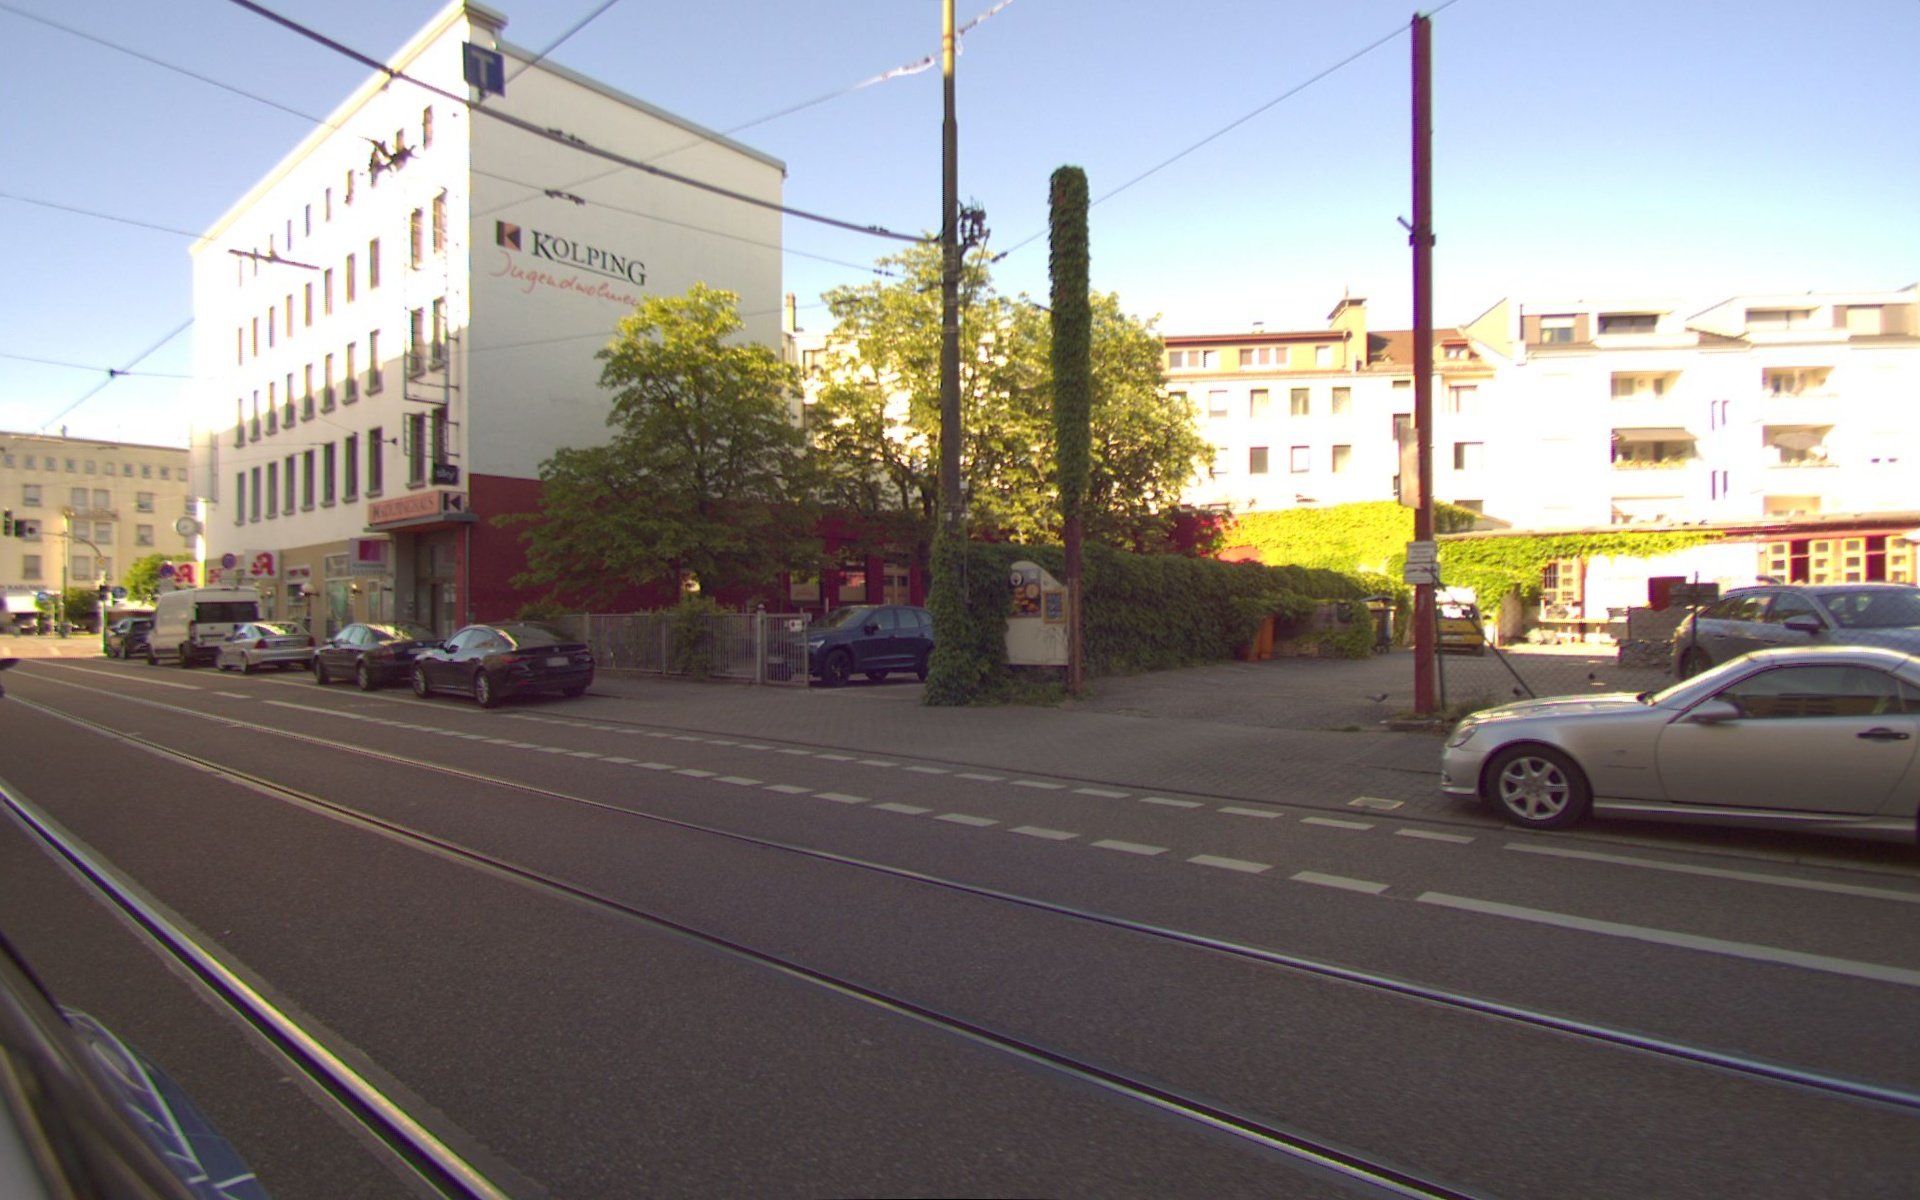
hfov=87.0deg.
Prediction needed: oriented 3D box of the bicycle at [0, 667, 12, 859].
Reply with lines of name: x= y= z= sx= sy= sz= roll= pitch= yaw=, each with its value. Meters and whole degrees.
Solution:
bicycle: x=-7.045 y=1.078 z=6.881 sx=1.752 sy=1.208 sz=0.757 roll=-1 pitch=-1 yaw=43

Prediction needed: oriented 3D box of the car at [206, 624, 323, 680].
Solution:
car: x=-19.977 y=1.427 z=29.000 sx=4.444 sy=1.409 sz=1.764 roll=-1 pitch=1 yaw=42

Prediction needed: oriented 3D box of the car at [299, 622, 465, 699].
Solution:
car: x=-13.147 y=1.291 z=22.897 sx=4.696 sy=1.492 sz=1.765 roll=-1 pitch=0 yaw=40

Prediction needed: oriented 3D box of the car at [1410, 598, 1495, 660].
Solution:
car: x=13.594 y=0.753 z=27.832 sx=1.796 sy=1.566 sz=3.959 roll=-1 pitch=-1 yaw=30

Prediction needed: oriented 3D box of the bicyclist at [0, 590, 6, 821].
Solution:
bicyclist: x=-7.045 y=0.717 z=6.880 sx=0.939 sy=1.552 sz=0.764 roll=-2 pitch=-2 yaw=44

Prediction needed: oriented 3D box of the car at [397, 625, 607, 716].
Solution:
car: x=-8.783 y=1.239 z=19.183 sx=4.839 sy=1.456 sz=1.765 roll=-1 pitch=0 yaw=41

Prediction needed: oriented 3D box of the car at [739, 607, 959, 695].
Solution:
car: x=-2.200 y=0.973 z=21.049 sx=2.000 sy=1.609 sz=4.315 roll=-1 pitch=-1 yaw=42

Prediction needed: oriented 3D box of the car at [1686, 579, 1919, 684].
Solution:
car: x=15.824 y=0.557 z=18.482 sx=3.998 sy=1.763 sz=1.778 roll=-2 pitch=-1 yaw=41

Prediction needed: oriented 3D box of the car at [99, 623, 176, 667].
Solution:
car: x=-32.613 y=1.754 z=40.096 sx=3.991 sy=1.564 sz=1.764 roll=-1 pitch=0 yaw=42

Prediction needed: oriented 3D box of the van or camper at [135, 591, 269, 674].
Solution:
van or camper: x=-25.132 y=1.028 z=33.449 sx=6.227 sy=2.486 sz=2.150 roll=-1 pitch=0 yaw=40

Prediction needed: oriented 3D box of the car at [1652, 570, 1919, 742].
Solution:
car: x=9.729 y=0.501 z=10.695 sx=1.976 sy=1.529 sz=4.786 roll=-1 pitch=-1 yaw=7

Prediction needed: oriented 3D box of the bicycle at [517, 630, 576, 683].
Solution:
bicycle: x=-9.756 y=1.310 z=23.833 sx=2.049 sy=1.183 sz=0.435 roll=-1 pitch=-1 yaw=42

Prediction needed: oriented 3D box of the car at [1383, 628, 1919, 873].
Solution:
car: x=5.413 y=0.894 z=7.025 sx=4.218 sy=1.324 sz=1.765 roll=-1 pitch=1 yaw=41
